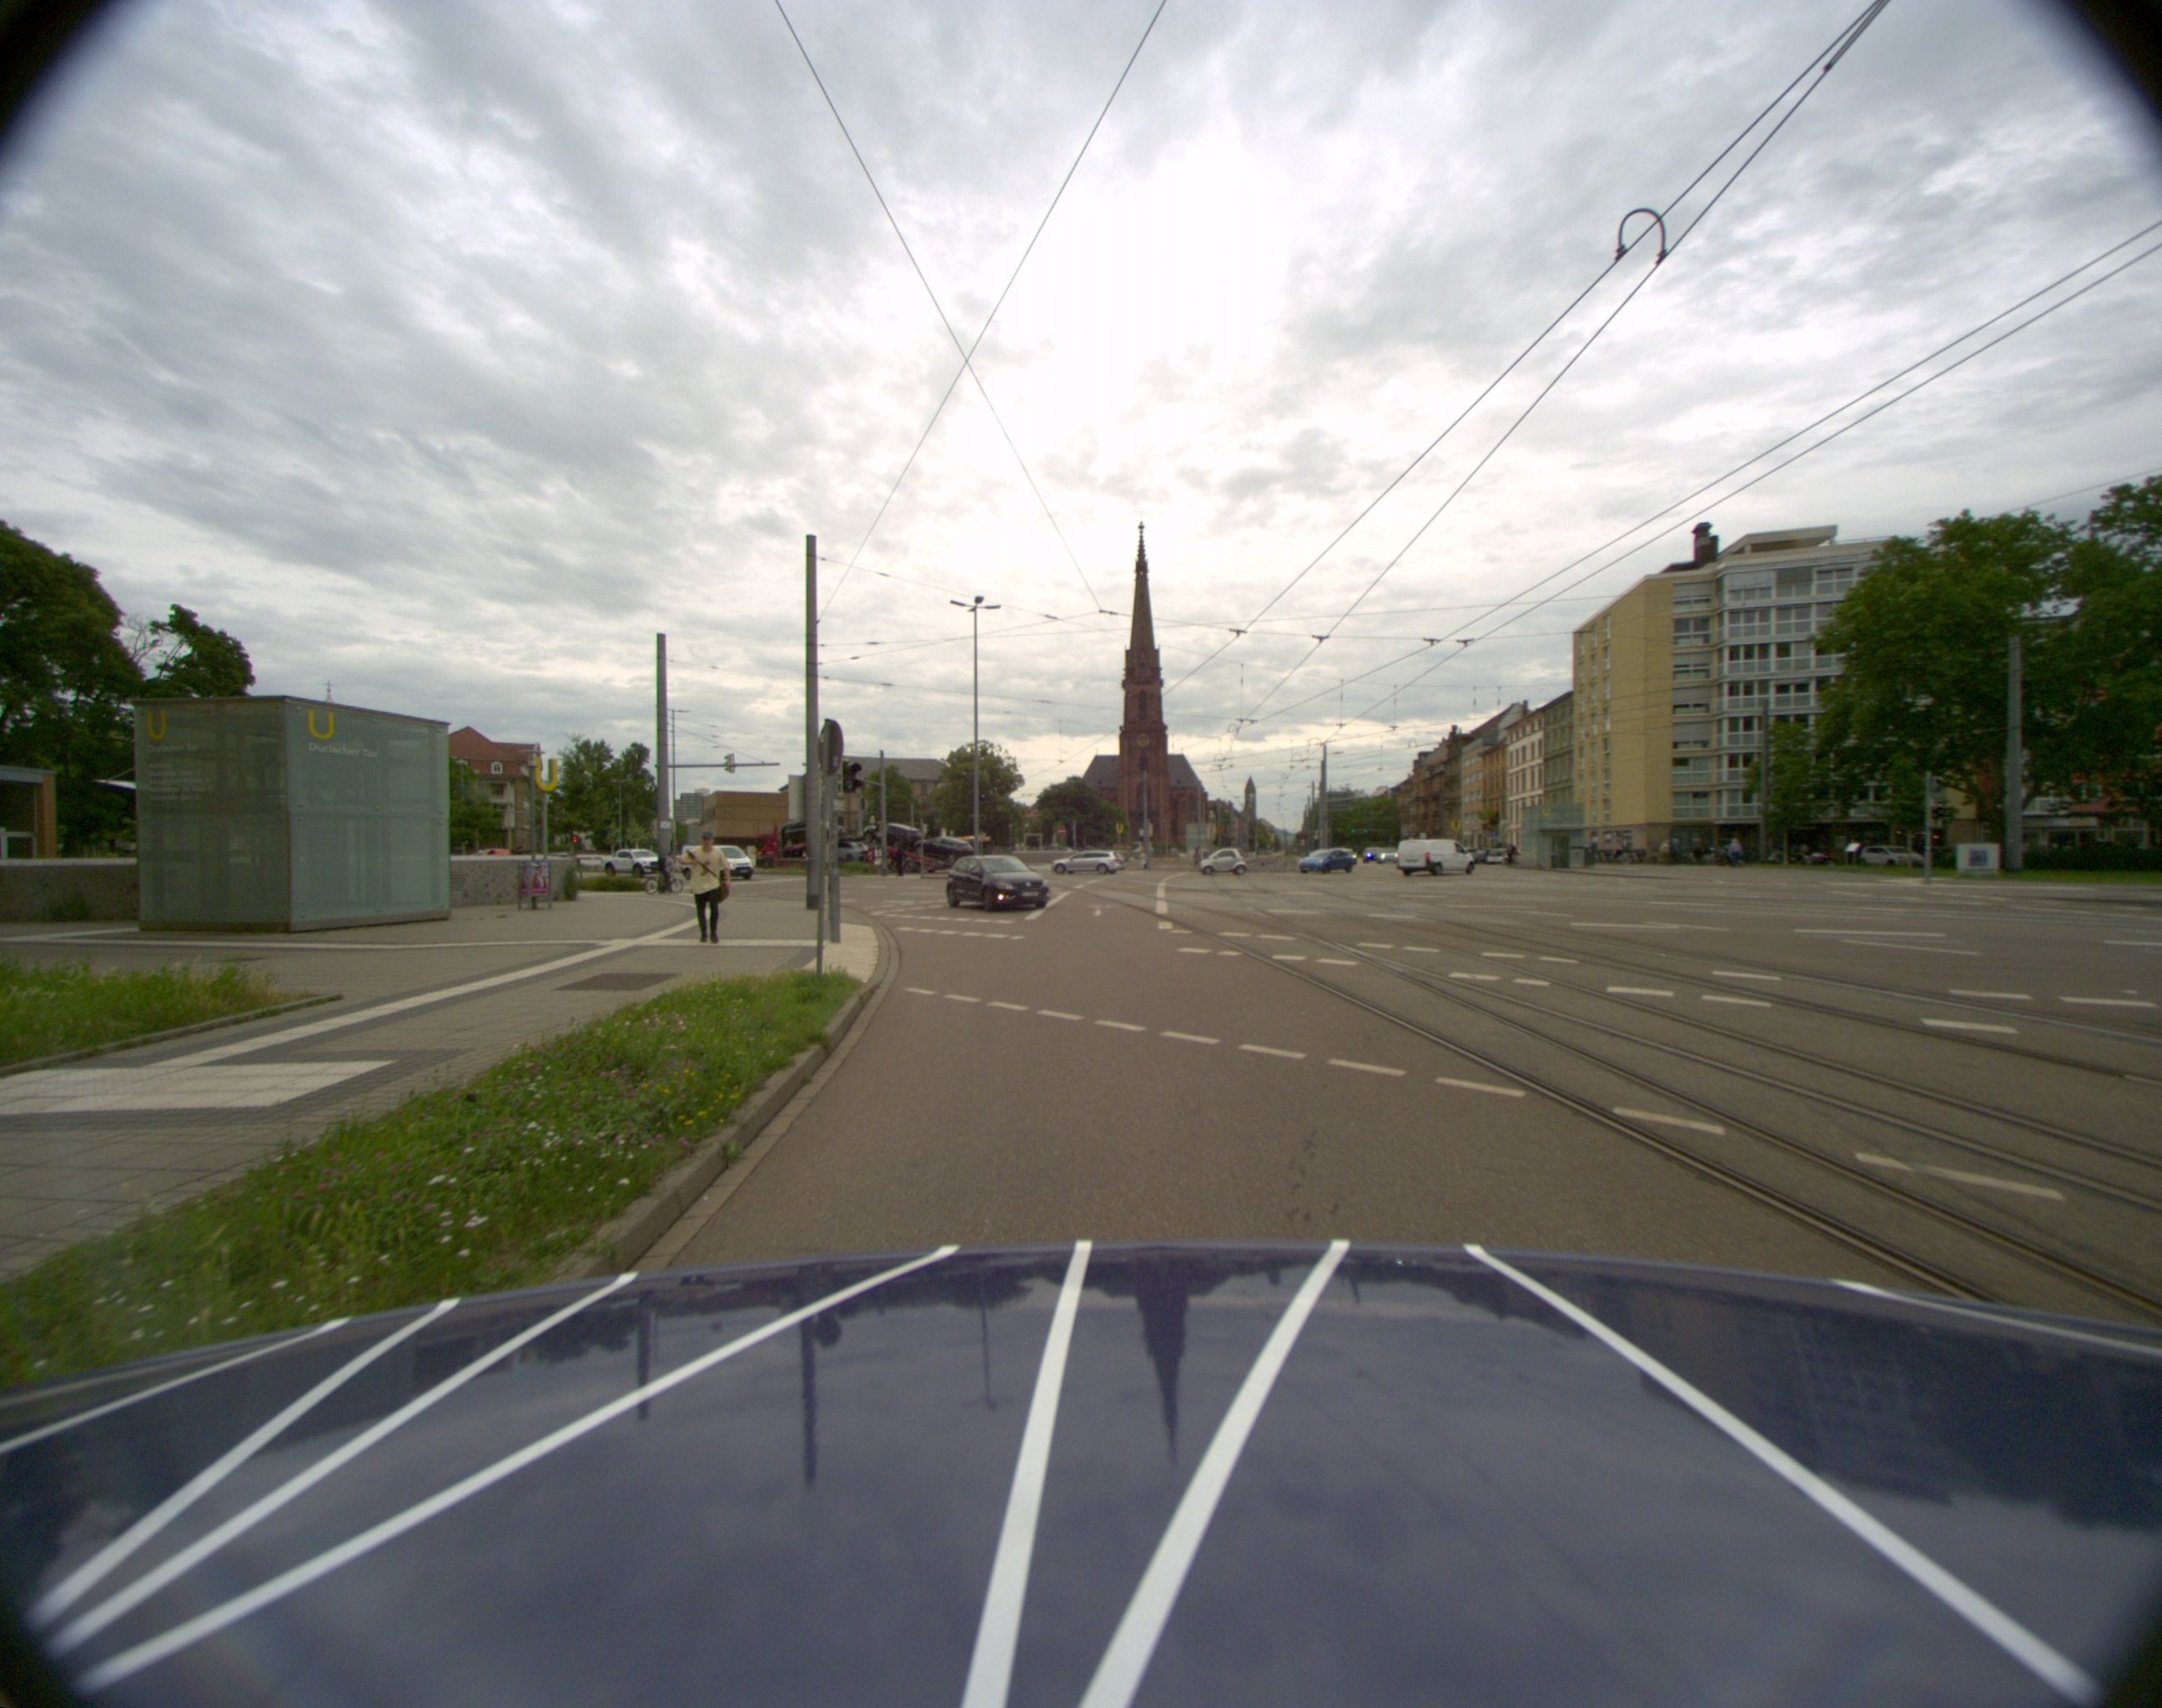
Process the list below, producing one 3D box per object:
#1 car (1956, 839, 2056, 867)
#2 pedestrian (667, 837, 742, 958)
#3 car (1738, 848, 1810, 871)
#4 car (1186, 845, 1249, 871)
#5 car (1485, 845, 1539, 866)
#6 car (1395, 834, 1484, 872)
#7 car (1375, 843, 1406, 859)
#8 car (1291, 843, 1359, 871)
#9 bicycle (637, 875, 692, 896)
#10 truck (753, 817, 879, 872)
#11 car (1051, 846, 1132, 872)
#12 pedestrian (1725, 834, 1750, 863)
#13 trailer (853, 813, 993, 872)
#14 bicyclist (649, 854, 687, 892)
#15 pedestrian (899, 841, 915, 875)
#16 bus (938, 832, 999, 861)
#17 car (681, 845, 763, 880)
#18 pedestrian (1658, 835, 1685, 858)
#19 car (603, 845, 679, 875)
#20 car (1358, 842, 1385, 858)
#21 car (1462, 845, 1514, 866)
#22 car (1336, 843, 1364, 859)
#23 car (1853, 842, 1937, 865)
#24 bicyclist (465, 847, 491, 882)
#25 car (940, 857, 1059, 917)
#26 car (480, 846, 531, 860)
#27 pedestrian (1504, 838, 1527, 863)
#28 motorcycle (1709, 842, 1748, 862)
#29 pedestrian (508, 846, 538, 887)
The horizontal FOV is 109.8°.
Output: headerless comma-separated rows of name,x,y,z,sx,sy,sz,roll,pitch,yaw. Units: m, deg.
car,60.006,-0.085,49.412,1.997,1.696,4.002,-1,2,11
pedestrian,-6.082,0.661,12.344,0.888,1.856,1.284,-1,1,-18
car,48.664,0.330,53.472,1.997,1.543,4.003,0,0,11
car,8.132,0.238,45.554,3.616,1.485,2.001,0,1,8
car,38.498,0.128,67.825,4.003,1.745,2.077,-2,2,-19
car,19.174,-0.113,40.581,5.097,1.872,1.918,-2,3,-34
car,28.228,-0.276,69.425,1.996,1.434,4.003,0,1,13
car,14.996,0.167,46.634,4.066,1.484,1.995,-3,-1,-39
bicycle,-16.986,1.272,31.024,0.765,0.835,1.830,0,-1,28
truck,-20.347,-0.736,58.119,10.427,3.898,3.020,0,2,31
car,0.665,0.325,47.622,4.668,1.483,2.004,-1,-3,21
pedestrian,38.868,-0.343,44.985,0.706,1.710,0.915,-1,2,3
trailer,-11.170,-0.797,53.618,9.530,3.951,3.001,0,2,23
bicyclist,-16.877,0.751,31.068,0.758,1.512,1.103,0,1,28
pedestrian,-10.125,0.235,44.251,0.782,1.932,0.980,-1,1,-20
bus,-13.079,-0.938,86.834,2.869,3.060,11.990,-2,2,-29
car,-20.722,0.444,43.817,4.511,1.931,2.004,0,1,30
pedestrian,42.289,-0.517,54.386,1.039,1.630,1.333,0,1,11
car,-28.194,0.383,48.642,4.738,1.838,2.094,0,1,31
car,29.591,-0.398,77.496,1.997,1.521,4.003,-1,1,11
car,37.818,0.131,70.583,4.003,1.745,2.077,-2,2,-19
car,24.713,-0.279,69.975,1.996,1.434,4.003,0,1,13
car,56.014,-0.048,52.406,1.997,1.543,4.003,0,0,11
bicyclist,-27.536,0.497,34.695,0.694,1.551,0.925,1,-1,-23
car,-2.306,0.812,20.551,1.659,1.404,3.990,-1,1,-31
car,-72.150,-0.157,95.421,1.910,1.707,5.246,0,1,7
pedestrian,32.069,-0.255,56.119,1.178,1.774,1.041,0,1,10
motorcycle,40.181,-0.126,47.192,0.863,1.171,2.550,0,2,15
pedestrian,-26.324,0.575,35.845,0.724,1.917,0.874,0,1,-1
